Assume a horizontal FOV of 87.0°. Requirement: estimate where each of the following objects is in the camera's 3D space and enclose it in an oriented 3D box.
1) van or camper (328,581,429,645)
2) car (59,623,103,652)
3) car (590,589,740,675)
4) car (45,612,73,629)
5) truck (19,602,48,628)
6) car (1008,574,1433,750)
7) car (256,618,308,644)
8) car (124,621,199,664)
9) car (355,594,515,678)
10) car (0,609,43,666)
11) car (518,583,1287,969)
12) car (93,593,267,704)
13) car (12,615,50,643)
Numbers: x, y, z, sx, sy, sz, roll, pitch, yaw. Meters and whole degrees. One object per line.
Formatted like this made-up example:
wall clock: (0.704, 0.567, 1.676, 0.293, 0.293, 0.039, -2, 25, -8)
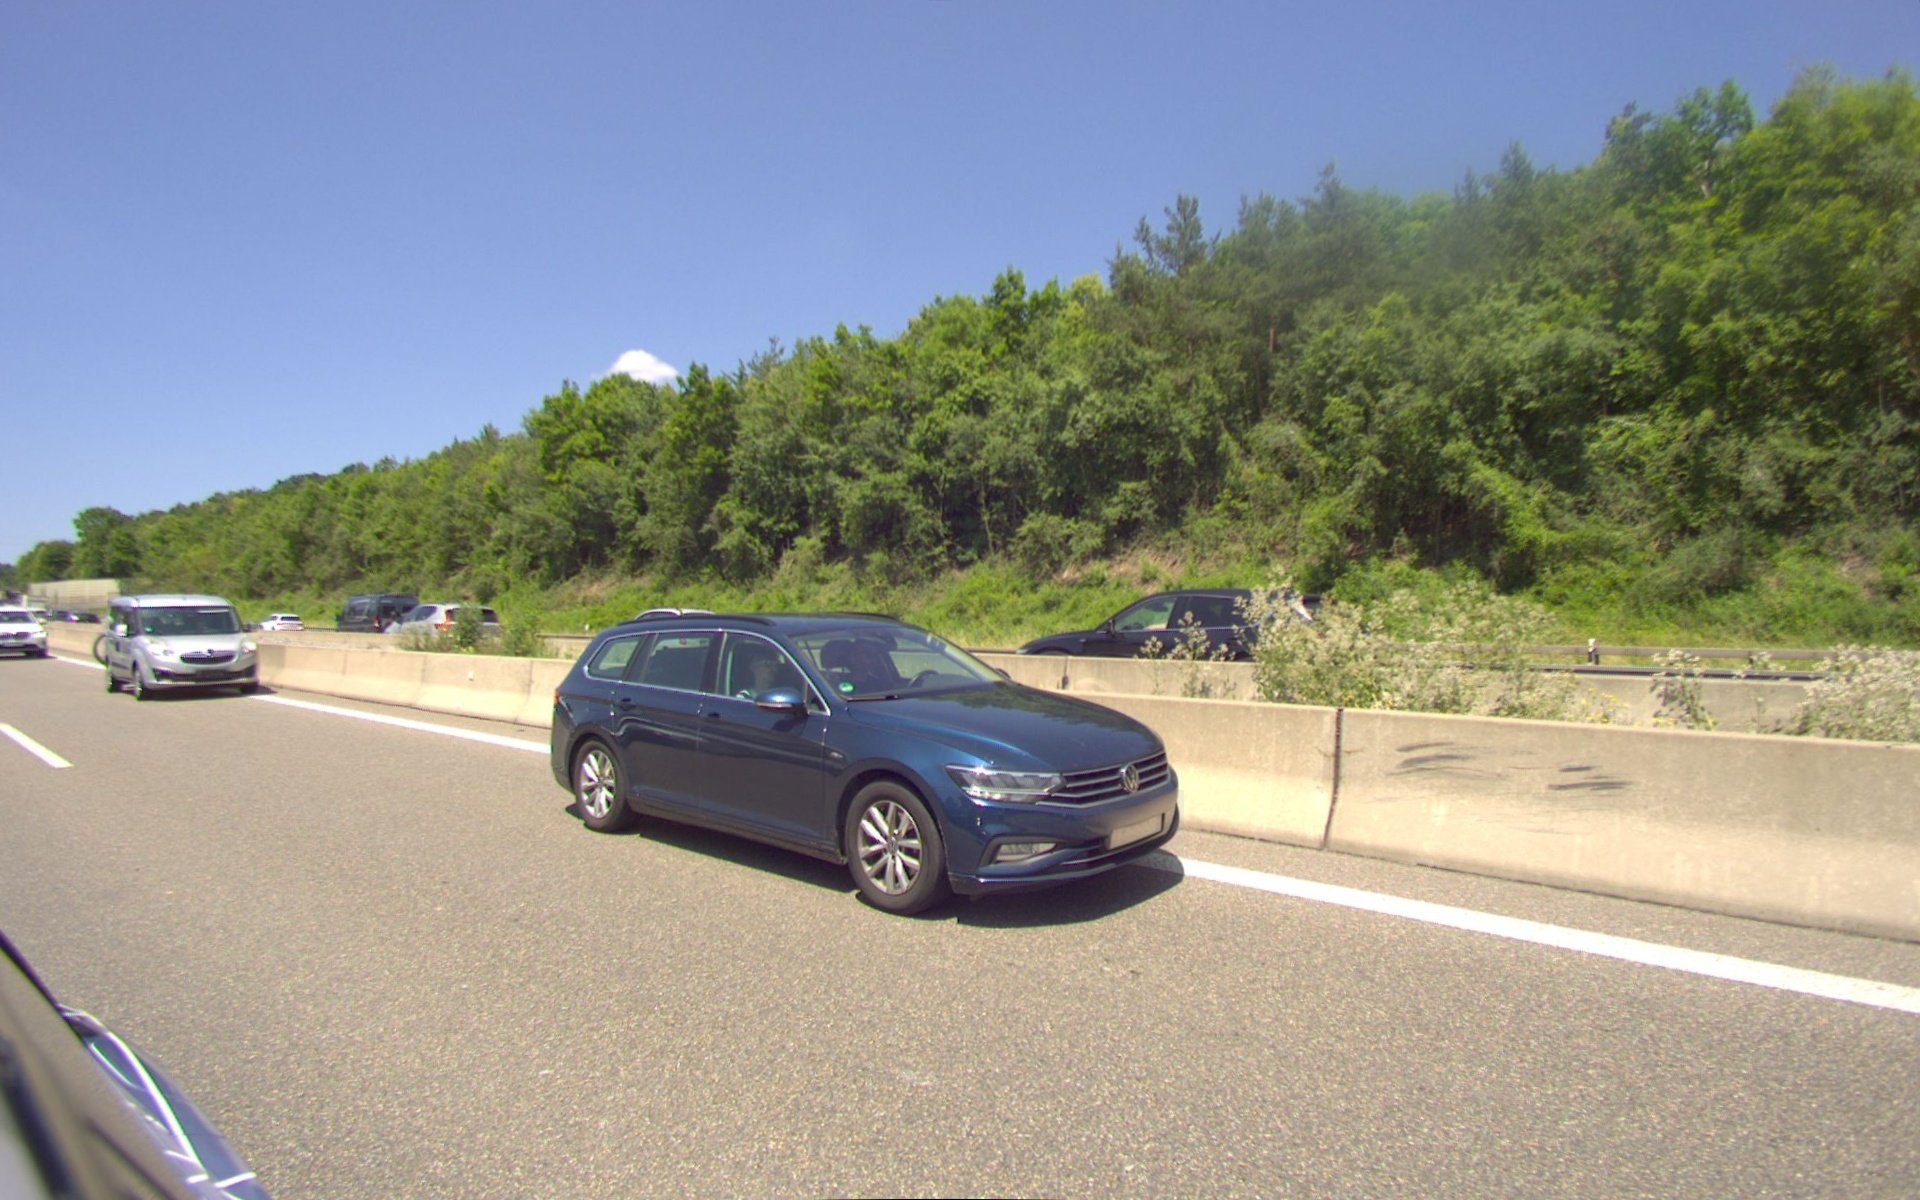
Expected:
van or camper: (-27.935, 0.540, 48.488, 6.649, 2.880, 2.132, 1, 1, 41)
car: (-54.961, 2.310, 63.274, 3.833, 1.583, 1.760, 1, 1, 44)
car: (-7.638, 0.795, 26.066, 3.924, 2.029, 1.893, -1, -1, 41)
car: (-113.306, 2.551, 127.246, 4.363, 2.029, 2.101, 1, 1, 42)
truck: (-151.366, 2.386, 165.337, 7.988, 4.019, 2.664, 1, 1, 42)
car: (2.941, 0.582, 12.021, 4.511, 1.705, 1.973, 1, 1, 41)
car: (-49.198, 2.209, 73.399, 4.511, 1.705, 1.973, 1, 1, 41)
car: (-37.924, 2.049, 48.043, 4.510, 1.705, 1.973, -8, -7, 40)
car: (-14.073, 0.908, 26.962, 5.384, 2.029, 1.973, -1, -1, 41)
car: (-31.317, 1.188, 32.896, 3.999, 1.719, 1.800, 1, 1, 42)
car: (-0.674, 0.716, 6.096, 4.676, 1.461, 1.854, -2, -1, 42)
car: (-14.628, 0.776, 18.856, 4.919, 1.786, 1.832, 1, 1, 43)
car: (-74.511, 2.299, 81.131, 4.348, 2.029, 1.971, 1, 1, 44)
